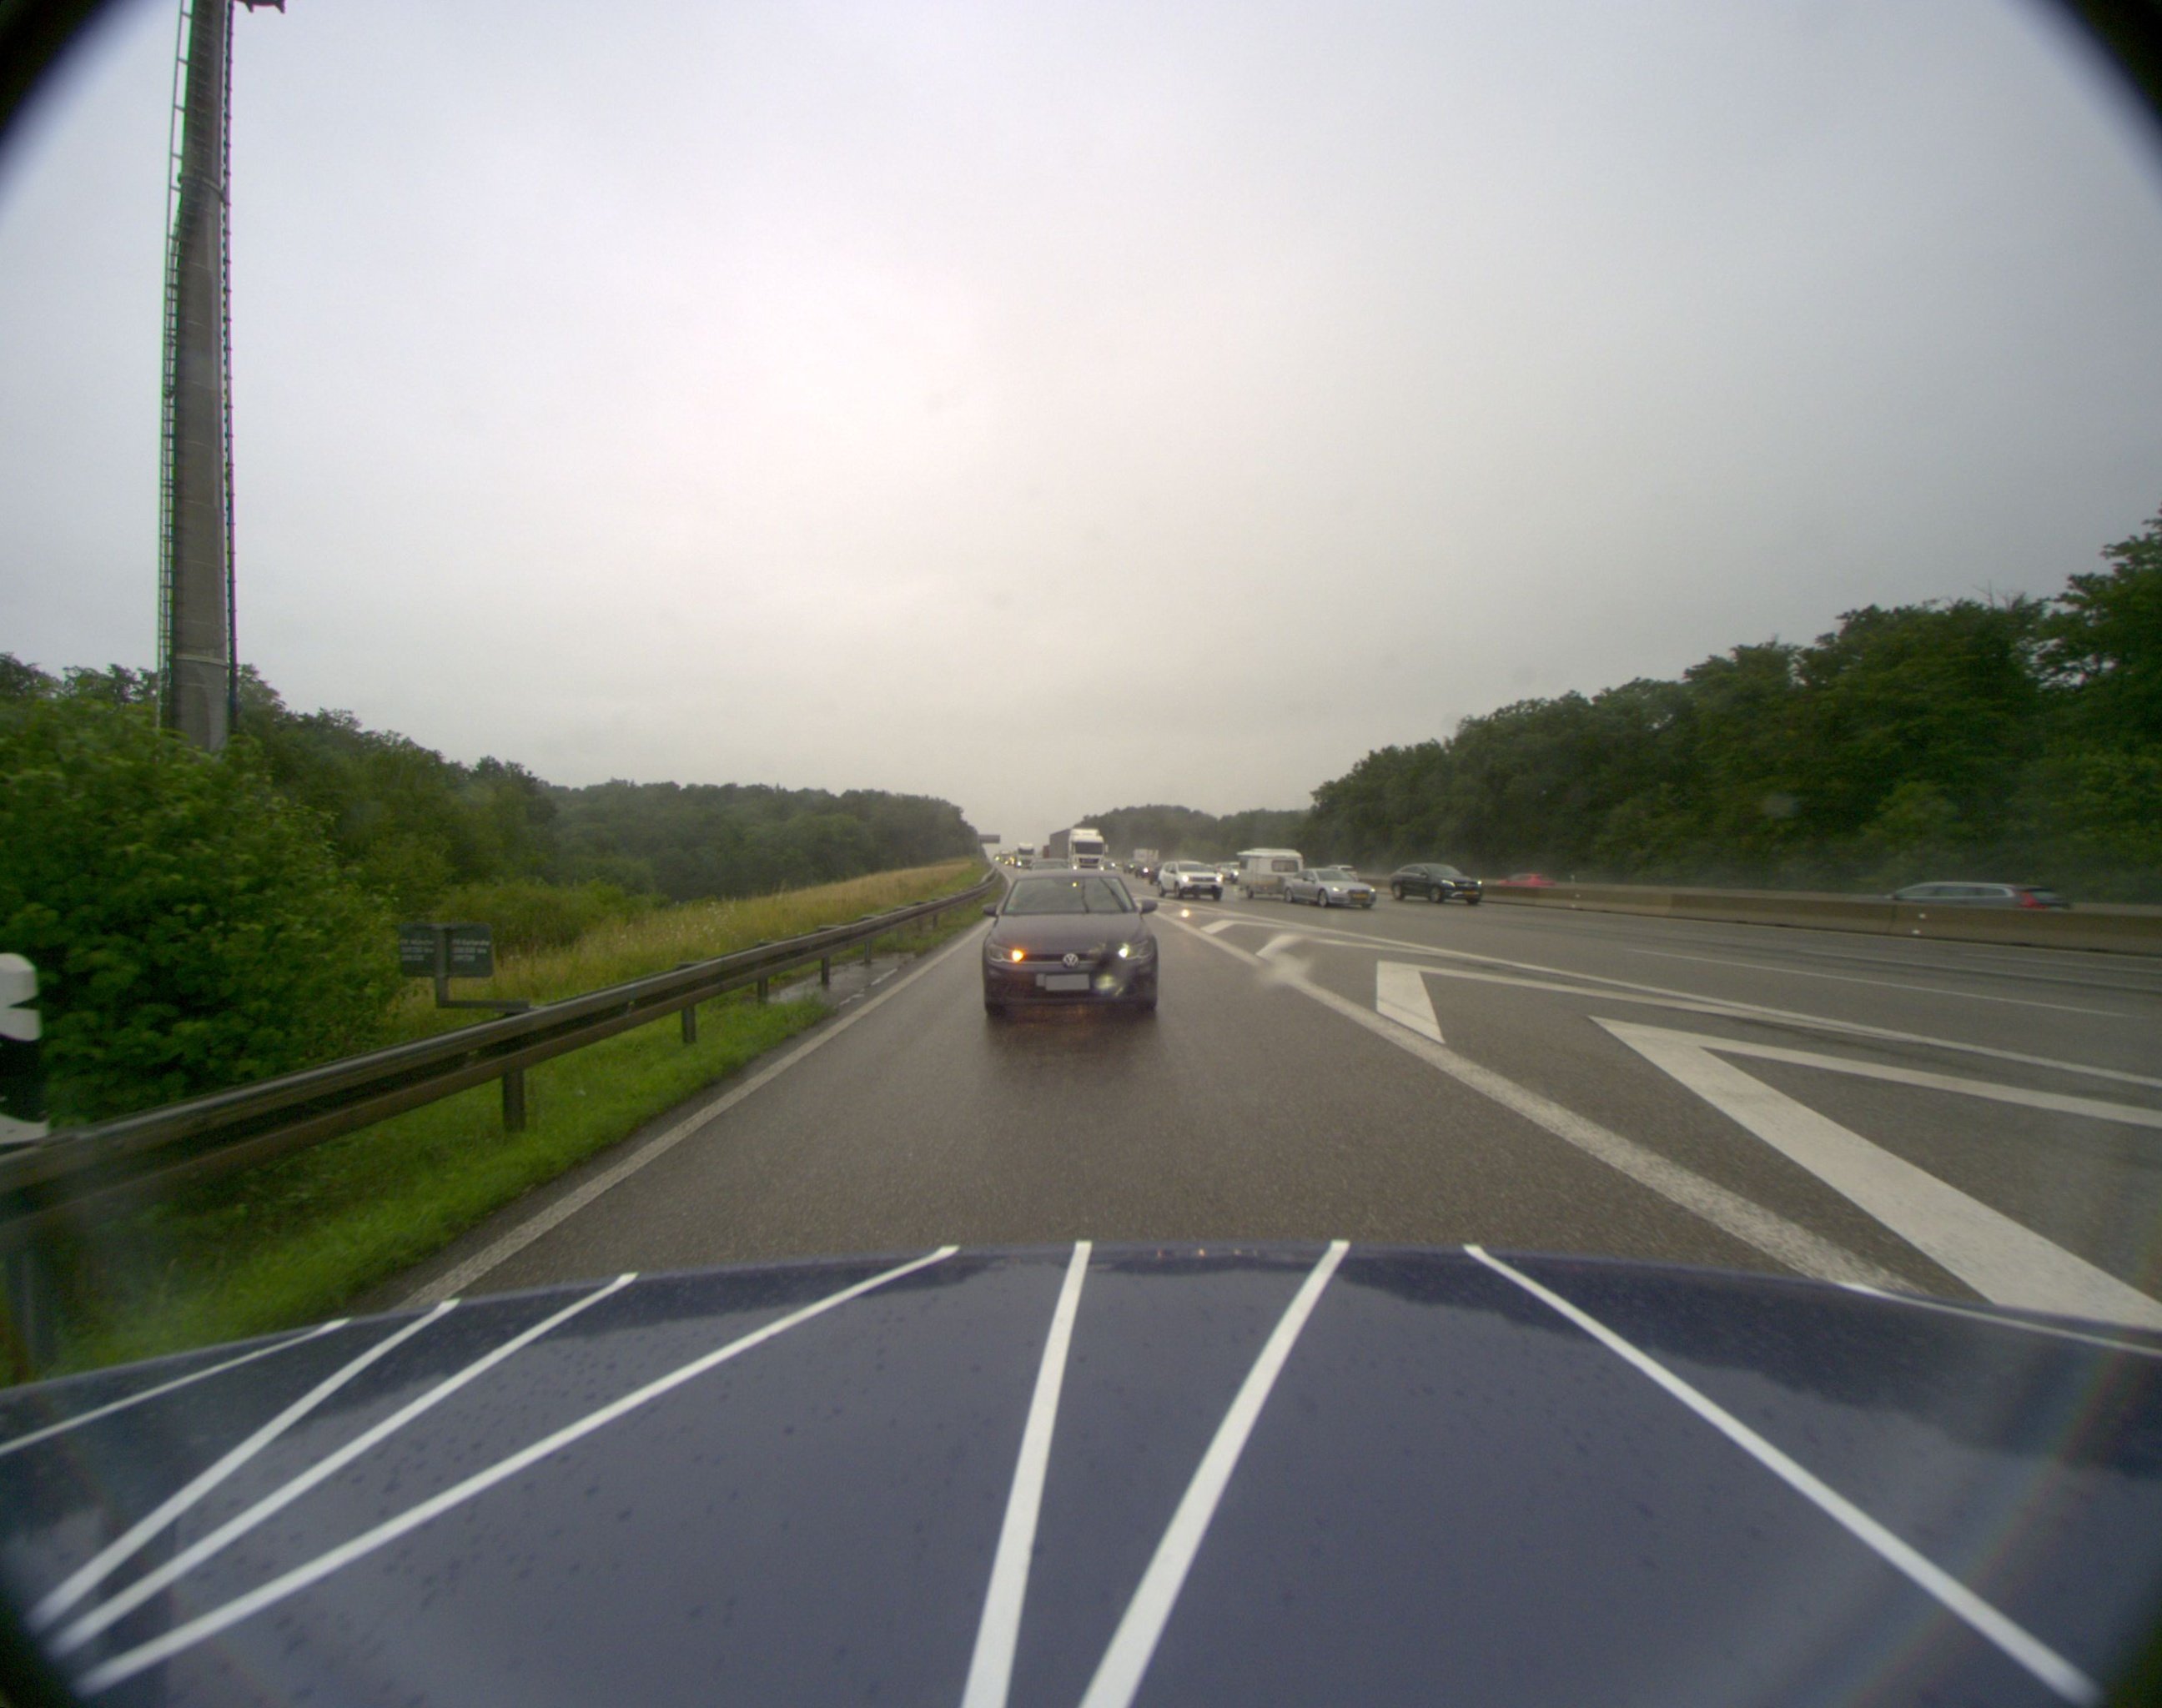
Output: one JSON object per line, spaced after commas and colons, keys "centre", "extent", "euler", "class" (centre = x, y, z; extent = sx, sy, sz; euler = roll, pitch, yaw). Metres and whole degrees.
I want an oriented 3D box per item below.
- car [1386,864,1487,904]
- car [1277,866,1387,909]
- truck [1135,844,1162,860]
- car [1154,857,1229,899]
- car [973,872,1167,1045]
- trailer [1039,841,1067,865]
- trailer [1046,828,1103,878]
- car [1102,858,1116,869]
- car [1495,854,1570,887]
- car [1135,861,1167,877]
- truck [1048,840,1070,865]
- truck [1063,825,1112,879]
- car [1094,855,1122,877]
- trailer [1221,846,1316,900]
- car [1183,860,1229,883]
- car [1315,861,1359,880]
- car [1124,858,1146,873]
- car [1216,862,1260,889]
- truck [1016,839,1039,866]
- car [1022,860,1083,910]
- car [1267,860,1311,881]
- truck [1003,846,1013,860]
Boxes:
{"centre": [15.589, 1.271, 33.623], "extent": [1.710, 1.565, 4.521], "euler": [2, 0, -10], "class": "car"}
{"centre": [9.098, 1.172, 27.995], "extent": [1.852, 1.340, 4.577], "euler": [2, -1, -10], "class": "car"}
{"centre": [15.358, -0.423, 174.191], "extent": [3.158, 3.643, 15.200], "euler": [0, 0, -7], "class": "truck"}
{"centre": [4.511, 0.969, 31.737], "extent": [1.792, 1.576, 4.320], "euler": [2, -1, -10], "class": "car"}
{"centre": [-0.115, 0.975, 8.872], "extent": [1.670, 1.394, 4.261], "euler": [-2, 0, -1], "class": "car"}
{"centre": [-4.709, -0.162, 124.498], "extent": [2.692, 3.484, 15.113], "euler": [-2, 0, -9], "class": "trailer"}
{"centre": [-0.833, -0.042, 67.949], "extent": [2.905, 3.959, 14.107], "euler": [1, 0, -9], "class": "trailer"}
{"centre": [4.253, 1.453, 116.175], "extent": [1.599, 1.707, 3.801], "euler": [1, 0, -6], "class": "car"}
{"centre": [28.591, 0.989, 48.264], "extent": [2.000, 2.002, 3.997], "euler": [0, 0, -8], "class": "car"}
{"centre": [6.298, 1.369, 68.979], "extent": [1.824, 1.405, 4.121], "euler": [1, -2, -10], "class": "car"}
{"centre": [-3.411, -0.260, 115.990], "extent": [2.698, 3.635, 5.321], "euler": [-2, 0, -9], "class": "truck"}
{"centre": [0.442, -0.113, 59.940], "extent": [2.882, 4.028, 5.929], "euler": [1, 0, -9], "class": "truck"}
{"centre": [2.527, 1.131, 72.242], "extent": [2.000, 2.002, 3.997], "euler": [1, 0, -7], "class": "car"}
{"centre": [8.230, 0.818, 33.962], "extent": [2.136, 2.143, 5.175], "euler": [2, -1, -10], "class": "trailer"}
{"centre": [8.866, 1.215, 54.268], "extent": [1.886, 1.472, 4.498], "euler": [1, 0, -9], "class": "car"}
{"centre": [21.964, 1.372, 65.293], "extent": [1.794, 1.517, 4.331], "euler": [0, 0, -8], "class": "car"}
{"centre": [6.828, 1.438, 96.493], "extent": [1.734, 1.781, 3.891], "euler": [2, 0, -12], "class": "car"}
{"centre": [12.235, 1.619, 59.443], "extent": [1.942, 2.002, 3.996], "euler": [-1, 0, -11], "class": "car"}
{"centre": [-8.511, -0.254, 119.988], "extent": [2.760, 3.984, 6.502], "euler": [2, -1, -10], "class": "truck"}
{"centre": [-0.922, 1.014, 26.547], "extent": [1.810, 1.532, 4.000], "euler": [-3, 0, 1], "class": "car"}
{"centre": [17.939, 1.384, 65.803], "extent": [2.000, 1.674, 4.207], "euler": [1, 0, -10], "class": "car"}
{"centre": [-22.966, -0.239, 238.760], "extent": [2.597, 4.120, 5.229], "euler": [-2, 0, -3], "class": "truck"}
